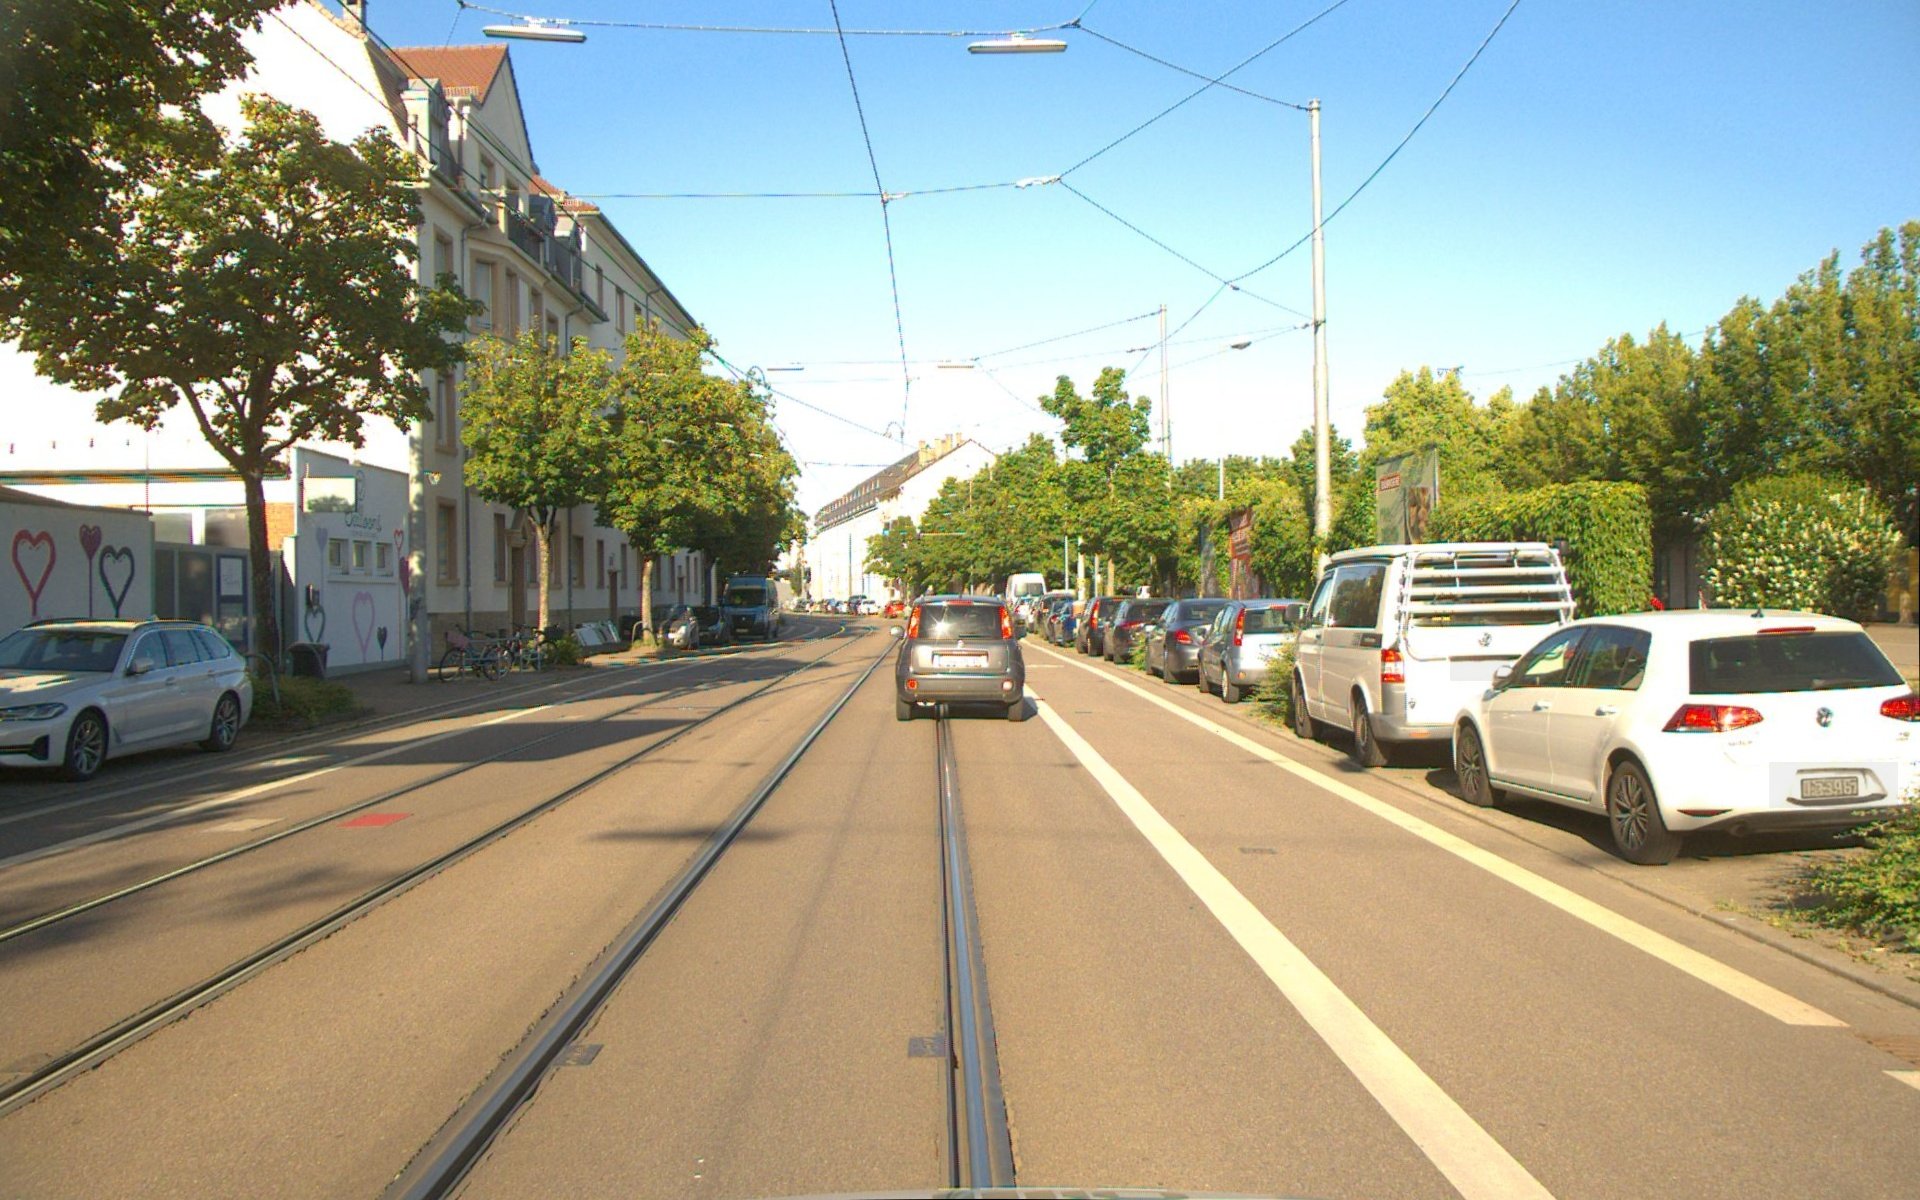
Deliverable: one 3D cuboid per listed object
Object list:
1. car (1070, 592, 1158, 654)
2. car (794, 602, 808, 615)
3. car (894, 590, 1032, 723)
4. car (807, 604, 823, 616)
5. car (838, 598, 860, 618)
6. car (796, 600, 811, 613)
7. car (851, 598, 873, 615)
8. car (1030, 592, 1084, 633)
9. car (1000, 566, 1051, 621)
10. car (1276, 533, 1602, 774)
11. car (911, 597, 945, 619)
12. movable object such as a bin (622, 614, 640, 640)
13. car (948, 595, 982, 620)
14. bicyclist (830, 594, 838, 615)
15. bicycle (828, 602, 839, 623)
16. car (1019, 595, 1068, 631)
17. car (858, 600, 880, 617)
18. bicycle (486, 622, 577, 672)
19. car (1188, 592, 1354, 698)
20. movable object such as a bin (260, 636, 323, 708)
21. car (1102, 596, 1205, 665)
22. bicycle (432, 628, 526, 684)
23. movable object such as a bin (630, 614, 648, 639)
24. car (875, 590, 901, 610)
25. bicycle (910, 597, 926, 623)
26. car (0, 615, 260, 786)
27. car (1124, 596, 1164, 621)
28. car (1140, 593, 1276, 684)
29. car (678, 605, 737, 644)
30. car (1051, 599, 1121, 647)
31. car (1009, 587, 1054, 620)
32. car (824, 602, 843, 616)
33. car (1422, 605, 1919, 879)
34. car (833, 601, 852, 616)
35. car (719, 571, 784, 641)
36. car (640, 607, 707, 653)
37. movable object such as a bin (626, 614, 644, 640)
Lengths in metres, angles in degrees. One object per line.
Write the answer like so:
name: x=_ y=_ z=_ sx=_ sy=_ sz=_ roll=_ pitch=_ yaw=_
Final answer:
car: x=4.102 y=0.597 z=44.567 sx=1.788 sy=1.519 sz=3.812 roll=-3 pitch=0 yaw=-3
car: x=-21.464 y=1.153 z=223.033 sx=1.555 sy=1.627 sz=3.366 roll=0 pitch=0 yaw=-12
car: x=-0.004 y=0.677 z=21.746 sx=1.616 sy=1.568 sz=4.233 roll=1 pitch=0 yaw=-1
car: x=-17.473 y=1.143 z=199.029 sx=1.555 sy=1.430 sz=3.366 roll=0 pitch=0 yaw=-12
car: x=-11.473 y=0.829 z=170.888 sx=1.626 sy=1.978 sz=4.651 roll=0 pitch=0 yaw=-11
car: x=-19.938 y=0.822 z=211.156 sx=1.555 sy=1.627 sz=3.366 roll=0 pitch=0 yaw=-12
car: x=-9.580 y=0.619 z=161.373 sx=1.626 sy=1.599 sz=3.865 roll=0 pitch=0 yaw=-11
car: x=3.944 y=0.499 z=67.802 sx=1.693 sy=1.632 sz=4.339 roll=0 pitch=0 yaw=-4
car: x=3.465 y=-0.307 z=88.388 sx=2.136 sy=2.712 sz=6.088 roll=-3 pitch=0 yaw=-2
car: x=4.601 y=0.466 z=16.778 sx=1.816 sy=2.026 sz=5.242 roll=-1 pitch=0 yaw=1
car: x=-2.414 y=0.608 z=123.655 sx=1.660 sy=1.556 sz=3.986 roll=-2 pitch=0 yaw=-13
movable object such as a bin: x=-12.250 y=1.000 z=61.599 sx=0.584 sy=0.951 sz=0.568 roll=-1 pitch=0 yaw=-4
car: x=0.286 y=0.484 z=107.631 sx=1.657 sy=1.556 sz=3.993 roll=-2 pitch=0 yaw=-8
bicyclist: x=-12.517 y=0.463 z=163.893 sx=0.702 sy=2.049 sz=0.829 roll=0 pitch=-1 yaw=-12
bicycle: x=-12.505 y=1.230 z=163.739 sx=0.728 sy=2.049 sz=2.803 roll=0 pitch=0 yaw=-12
car: x=3.623 y=0.555 z=72.576 sx=1.693 sy=1.539 sz=4.248 roll=0 pitch=0 yaw=-4
car: x=-8.672 y=0.771 z=157.030 sx=1.626 sy=1.599 sz=3.489 roll=0 pitch=0 yaw=-11
bicycle: x=-9.449 y=1.029 z=36.525 sx=0.523 sy=1.058 sz=1.974 roll=0 pitch=-1 yaw=43
car: x=4.658 y=0.643 z=25.317 sx=1.834 sy=1.498 sz=4.075 roll=0 pitch=0 yaw=1
movable object such as a bin: x=-9.780 y=1.048 z=24.214 sx=0.570 sy=0.976 sz=0.702 roll=4 pitch=-1 yaw=-1
car: x=4.439 y=0.674 z=38.520 sx=1.787 sy=1.477 sz=4.641 roll=-1 pitch=0 yaw=0
bicycle: x=-9.539 y=1.104 z=32.864 sx=0.656 sy=1.058 sz=1.779 roll=0 pitch=-1 yaw=36
movable object such as a bin: x=-12.294 y=1.008 z=63.395 sx=0.584 sy=0.951 sz=0.568 roll=-1 pitch=0 yaw=-4
car: x=-6.048 y=0.025 z=138.813 sx=1.606 sy=1.534 sz=3.388 roll=-3 pitch=0 yaw=-10
bicycle: x=-2.833 y=0.684 z=111.708 sx=0.663 sy=1.777 sz=2.151 roll=0 pitch=0 yaw=-12
car: x=-9.163 y=0.926 z=17.244 sx=1.827 sy=1.516 sz=4.660 roll=0 pitch=0 yaw=-1
car: x=7.994 y=0.361 z=71.945 sx=1.282 sy=1.051 sz=3.055 roll=0 pitch=0 yaw=-2
car: x=4.411 y=0.655 z=30.025 sx=1.787 sy=1.510 sz=4.601 roll=0 pitch=0 yaw=0
car: x=-9.542 y=0.913 z=62.675 sx=1.618 sy=1.450 sz=4.189 roll=0 pitch=0 yaw=-1
car: x=4.022 y=0.723 z=53.447 sx=1.693 sy=1.490 sz=4.338 roll=0 pitch=0 yaw=-4
car: x=3.495 y=0.170 z=81.786 sx=1.872 sy=1.556 sz=4.599 roll=-2 pitch=0 yaw=-2
car: x=-14.115 y=0.964 z=184.316 sx=1.555 sy=1.429 sz=3.366 roll=-4 pitch=1 yaw=-12
car: x=4.763 y=0.796 z=11.451 sx=1.642 sy=1.442 sz=4.500 roll=-3 pitch=0 yaw=-3
car: x=-12.618 y=0.918 z=177.234 sx=1.626 sy=1.526 sz=3.121 roll=0 pitch=0 yaw=-11
car: x=-8.824 y=0.250 z=70.587 sx=1.976 sy=2.875 sz=6.031 roll=0 pitch=0 yaw=0
car: x=-9.714 y=1.005 z=56.352 sx=1.618 sy=1.517 sz=3.999 roll=0 pitch=0 yaw=-1
movable object such as a bin: x=-12.213 y=1.003 z=62.195 sx=0.584 sy=0.951 sz=0.568 roll=-1 pitch=0 yaw=-4
